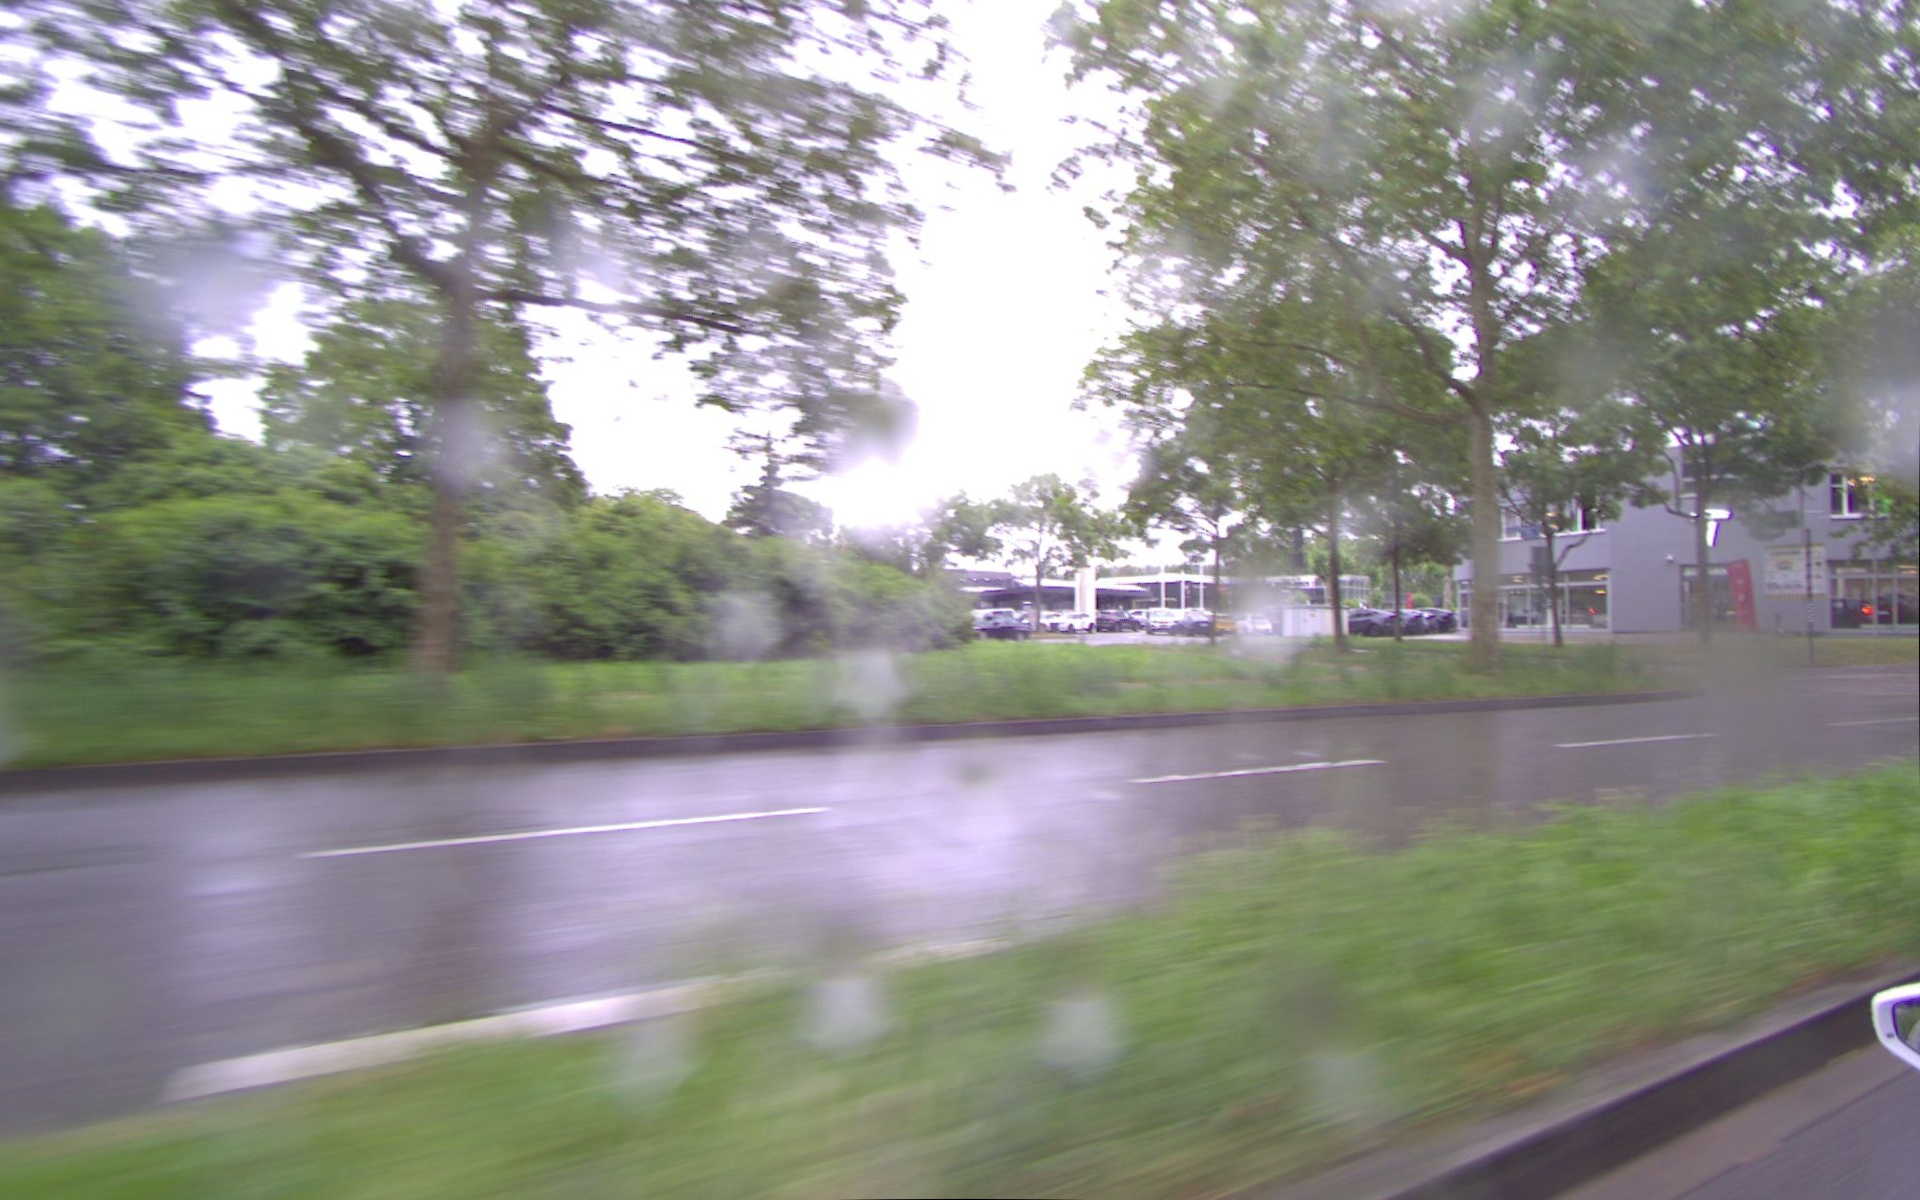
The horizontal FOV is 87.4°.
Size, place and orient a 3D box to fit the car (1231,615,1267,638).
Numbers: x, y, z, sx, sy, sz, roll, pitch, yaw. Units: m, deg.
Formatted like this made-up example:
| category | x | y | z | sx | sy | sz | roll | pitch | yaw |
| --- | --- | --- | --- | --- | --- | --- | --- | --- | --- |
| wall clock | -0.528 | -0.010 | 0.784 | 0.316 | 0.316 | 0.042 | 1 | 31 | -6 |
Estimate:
| category | x | y | z | sx | sy | sz | roll | pitch | yaw |
| --- | --- | --- | --- | --- | --- | --- | --- | --- | --- |
| car | 19.684 | 1.801 | 68.484 | 1.566 | 1.514 | 4.207 | 0 | -1 | 5 |

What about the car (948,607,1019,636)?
| category | x | y | z | sx | sy | sz | roll | pitch | yaw |
| --- | --- | --- | --- | --- | --- | --- | --- | --- | --- |
| car | 1.655 | 1.467 | 69.204 | 5.195 | 1.889 | 1.771 | 1 | -1 | -44 |

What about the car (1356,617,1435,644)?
| category | x | y | z | sx | sy | sz | roll | pitch | yaw |
| --- | --- | --- | --- | --- | --- | --- | --- | --- | --- |
| car | 26.303 | 1.830 | 60.822 | 1.583 | 1.514 | 4.160 | 1 | -1 | -37 |

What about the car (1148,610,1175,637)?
| category | x | y | z | sx | sy | sz | roll | pitch | yaw |
| --- | --- | --- | --- | --- | --- | --- | --- | --- | --- |
| car | 14.207 | 1.613 | 70.688 | 1.781 | 1.838 | 4.208 | 0 | -1 | 12 |

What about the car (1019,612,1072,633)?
| category | x | y | z | sx | sy | sz | roll | pitch | yaw |
| --- | --- | --- | --- | --- | --- | --- | --- | --- | --- |
| car | 6.386 | 1.692 | 74.692 | 1.577 | 1.514 | 4.178 | 0 | -1 | 45 |

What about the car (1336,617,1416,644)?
| category | x | y | z | sx | sy | sz | roll | pitch | yaw |
| --- | --- | --- | --- | --- | --- | --- | --- | --- | --- |
| car | 24.432 | 1.767 | 59.154 | 1.583 | 1.514 | 4.160 | 1 | -1 | -37 |

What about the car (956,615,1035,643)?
| category | x | y | z | sx | sy | sz | roll | pitch | yaw |
| --- | --- | --- | --- | --- | --- | --- | --- | --- | --- |
| car | 1.889 | 1.507 | 52.675 | 4.262 | 1.376 | 1.578 | 1 | -1 | -43 |

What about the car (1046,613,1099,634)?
| category | x | y | z | sx | sy | sz | roll | pitch | yaw |
| --- | --- | --- | --- | --- | --- | --- | --- | --- | --- |
| car | 8.216 | 1.701 | 72.998 | 1.577 | 1.514 | 4.178 | 0 | -1 | 45 |

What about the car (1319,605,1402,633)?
| category | x | y | z | sx | sy | sz | roll | pitch | yaw |
| --- | --- | --- | --- | --- | --- | --- | --- | --- | --- |
| car | 22.478 | 1.063 | 56.516 | 1.583 | 1.514 | 4.160 | 1 | -1 | -37 |

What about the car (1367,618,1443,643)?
| category | x | y | z | sx | sy | sz | roll | pitch | yaw |
| --- | --- | --- | --- | --- | --- | --- | --- | --- | --- |
| car | 28.062 | 1.908 | 63.493 | 1.583 | 1.514 | 4.160 | 1 | -1 | -37 |

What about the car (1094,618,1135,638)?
| category | x | y | z | sx | sy | sz | roll | pitch | yaw |
| --- | --- | --- | --- | --- | --- | --- | --- | --- | --- |
| car | 11.998 | 2.125 | 77.629 | 1.571 | 1.514 | 4.194 | 0 | -1 | 33 |

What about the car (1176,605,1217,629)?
| category | x | y | z | sx | sy | sz | roll | pitch | yaw |
| --- | --- | --- | --- | --- | --- | --- | --- | --- | --- |
| car | 15.583 | 1.102 | 66.294 | 1.847 | 1.514 | 4.206 | 1 | -1 | 2 |

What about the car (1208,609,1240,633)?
| category | x | y | z | sx | sy | sz | roll | pitch | yaw |
| --- | --- | --- | --- | --- | --- | --- | --- | --- | --- |
| car | 17.765 | 1.409 | 67.762 | 1.566 | 1.514 | 3.074 | 0 | -1 | 4 |

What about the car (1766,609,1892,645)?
| category | x | y | z | sx | sy | sz | roll | pitch | yaw |
| --- | --- | --- | --- | --- | --- | --- | --- | --- | --- |
| car | 37.983 | 1.147 | 44.051 | 1.569 | 1.514 | 4.199 | 1 | -1 | -8 |
